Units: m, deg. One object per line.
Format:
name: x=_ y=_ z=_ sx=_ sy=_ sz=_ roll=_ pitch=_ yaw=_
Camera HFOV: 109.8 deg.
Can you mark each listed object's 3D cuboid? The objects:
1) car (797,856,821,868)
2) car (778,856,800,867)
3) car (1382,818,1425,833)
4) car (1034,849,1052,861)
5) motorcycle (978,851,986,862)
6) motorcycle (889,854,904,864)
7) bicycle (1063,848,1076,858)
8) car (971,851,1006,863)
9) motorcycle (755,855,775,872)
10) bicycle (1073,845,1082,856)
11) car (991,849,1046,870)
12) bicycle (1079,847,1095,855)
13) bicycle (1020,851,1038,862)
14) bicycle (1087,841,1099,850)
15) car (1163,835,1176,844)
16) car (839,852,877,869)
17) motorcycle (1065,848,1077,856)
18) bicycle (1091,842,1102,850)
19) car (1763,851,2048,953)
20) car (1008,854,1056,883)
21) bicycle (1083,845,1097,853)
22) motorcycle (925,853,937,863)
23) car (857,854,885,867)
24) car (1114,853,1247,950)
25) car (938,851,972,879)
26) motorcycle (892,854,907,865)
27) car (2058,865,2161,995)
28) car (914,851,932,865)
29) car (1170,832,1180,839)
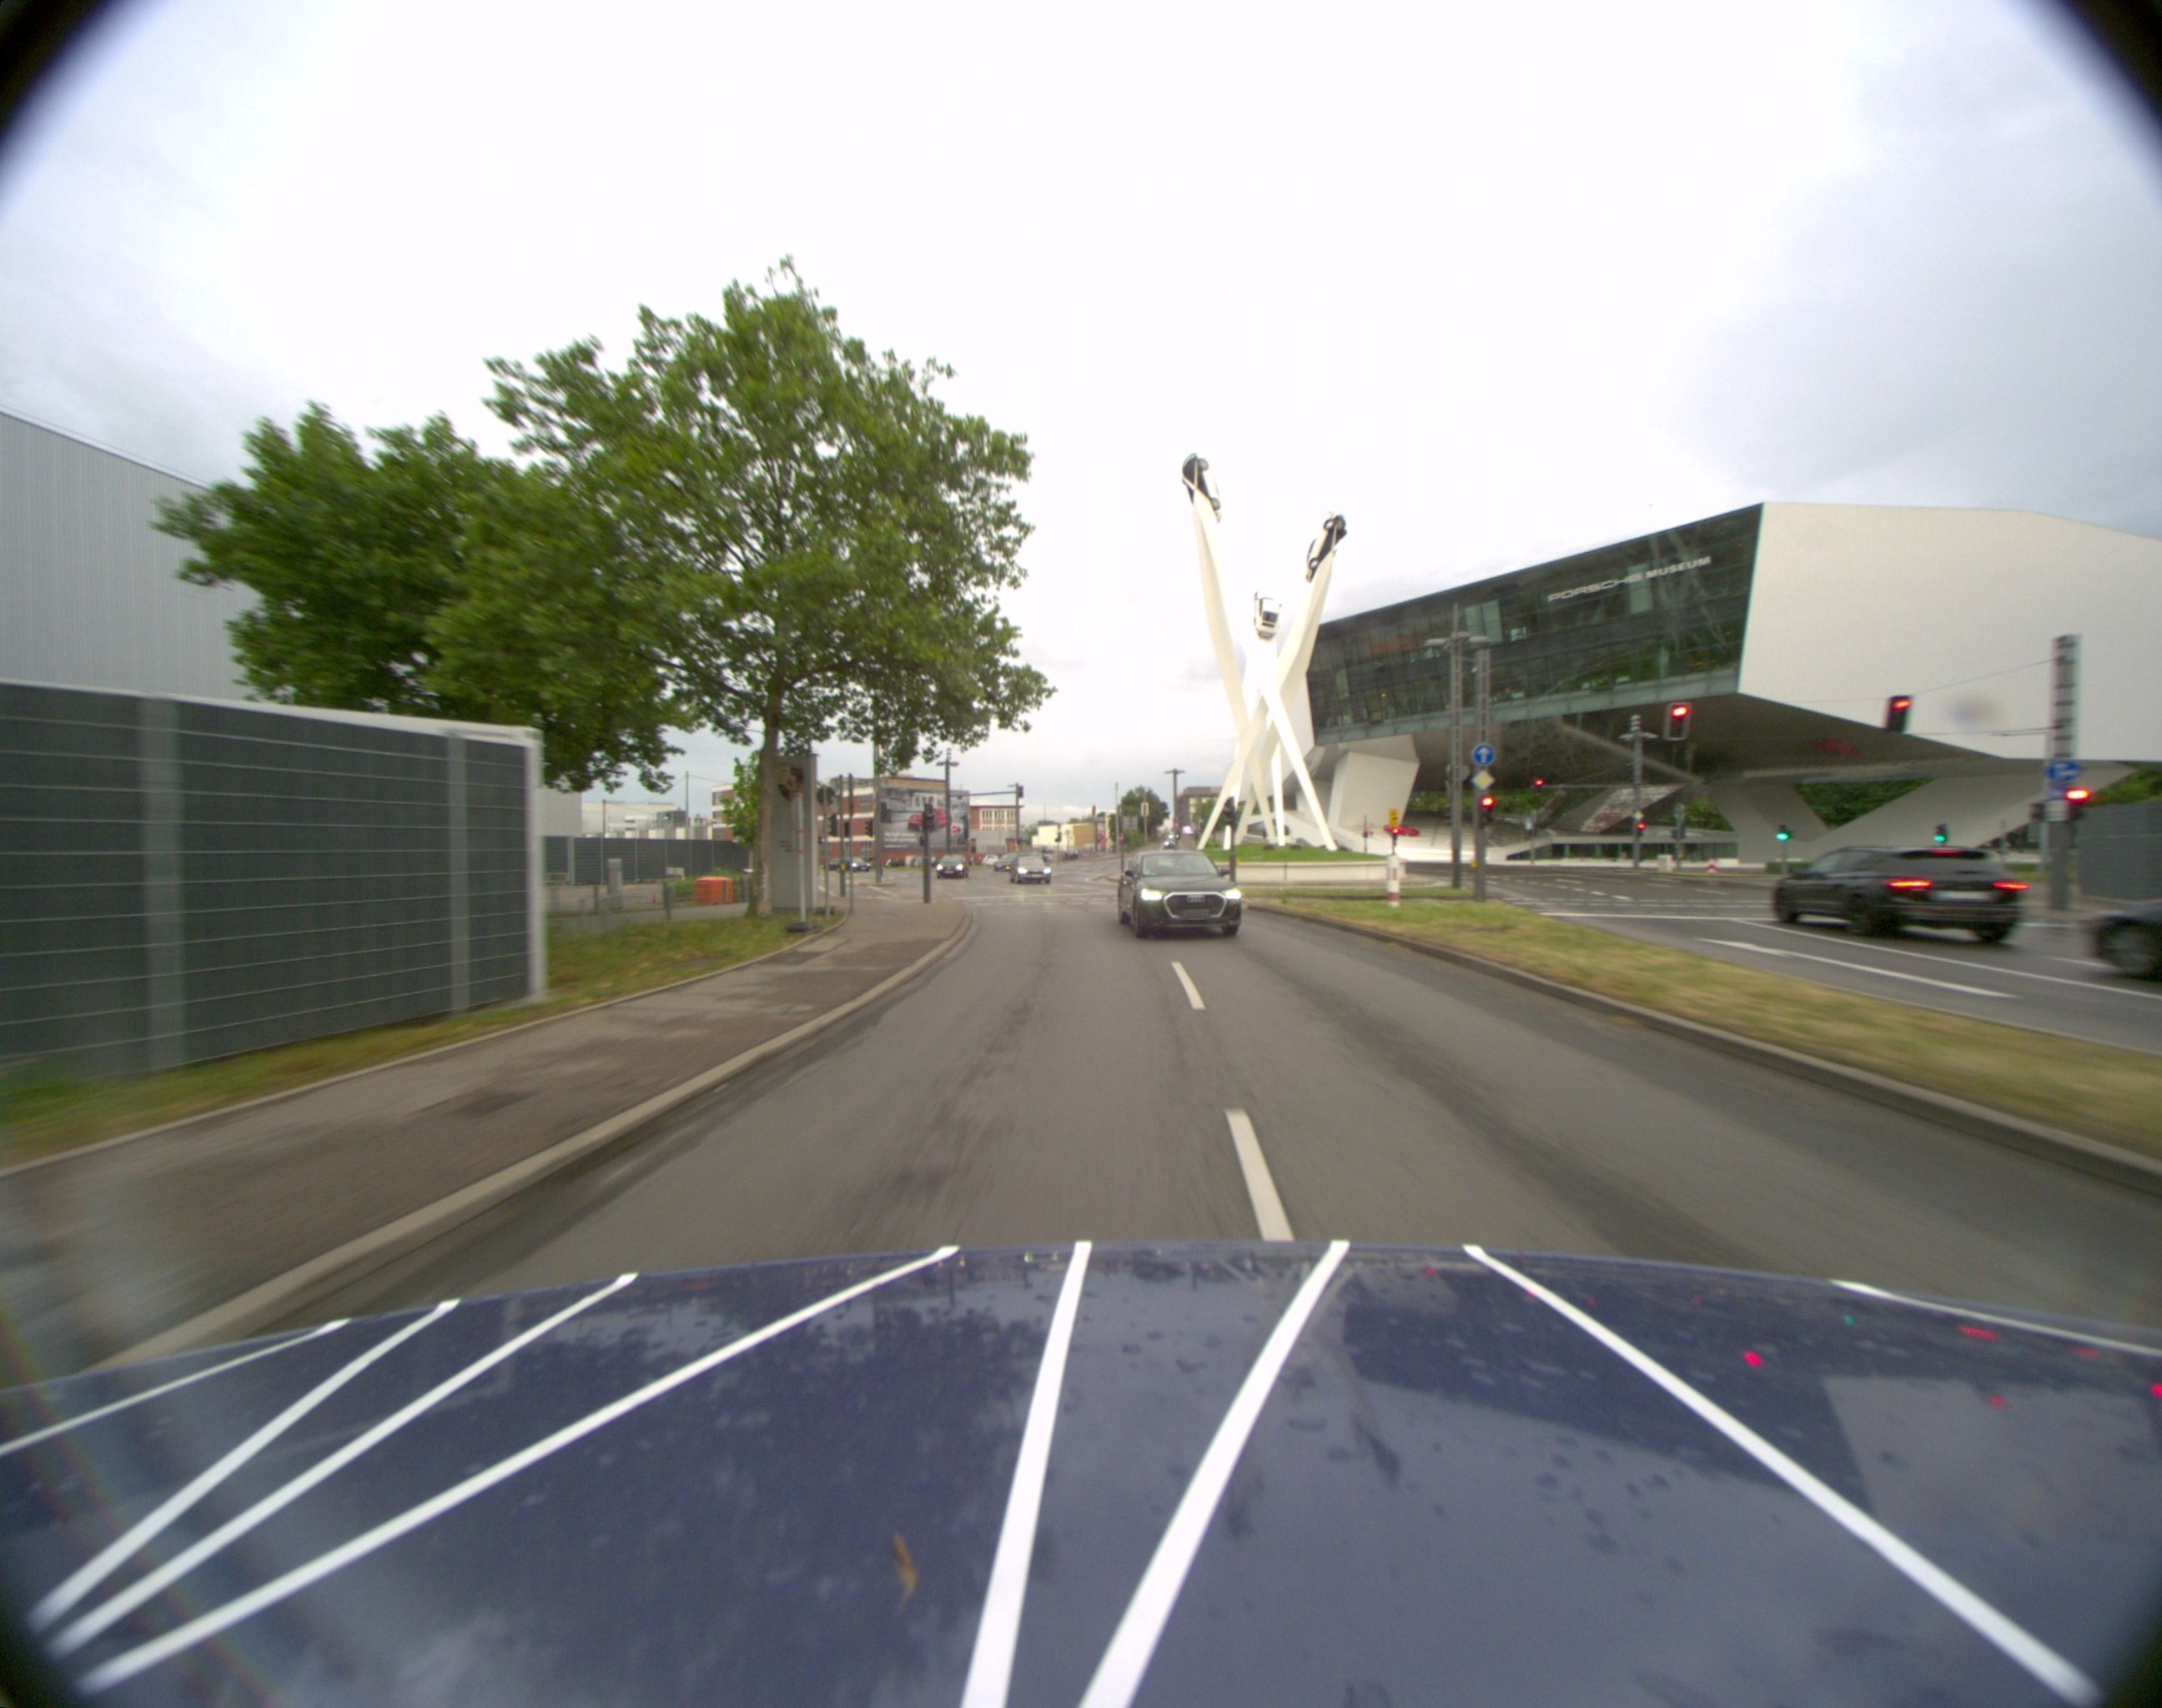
car: x=-34.851 y=0.975 z=97.314 sx=1.462 sy=1.436 sz=3.455 roll=-6 pitch=4 yaw=-43
car: x=-38.870 y=0.982 z=101.010 sx=1.462 sy=1.436 sz=3.379 roll=-6 pitch=4 yaw=-43
car: x=38.973 y=-3.435 z=91.803 sx=2.004 sy=1.378 sz=4.229 roll=-3 pitch=10 yaw=-38
car: x=-5.968 y=0.120 z=120.703 sx=1.781 sy=1.657 sz=4.508 roll=-2 pitch=1 yaw=11
motorcycle: x=-13.128 y=0.270 z=100.628 sx=0.523 sy=1.326 sz=1.670 roll=-2 pitch=3 yaw=8
motorcycle: x=-22.237 y=0.616 z=91.594 sx=1.651 sy=1.105 sz=0.543 roll=-5 pitch=4 yaw=-38
bicycle: x=-1.331 y=-0.134 z=87.294 sx=0.346 sy=1.078 sz=1.747 roll=1 pitch=5 yaw=42
car: x=-11.612 y=0.374 z=95.367 sx=3.992 sy=1.481 sz=1.569 roll=-1 pitch=1 yaw=17
motorcycle: x=-25.521 y=0.767 z=61.387 sx=2.095 sy=1.303 sz=0.657 roll=-1 pitch=1 yaw=45
bicycle: x=-0.446 y=-0.393 z=89.524 sx=0.399 sy=1.169 sz=2.017 roll=-1 pitch=3 yaw=17
car: x=-5.120 y=0.436 z=62.157 sx=4.074 sy=1.466 sz=1.745 roll=-4 pitch=3 yaw=-34
bicycle: x=0.705 y=-0.356 z=90.628 sx=1.742 sy=0.956 sz=0.422 roll=-1 pitch=4 yaw=16
bicycle: x=-5.701 y=0.267 z=83.324 sx=2.076 sy=1.124 sz=0.420 roll=-5 pitch=4 yaw=-35
bicycle: x=1.599 y=-1.127 z=100.789 sx=1.543 sy=1.149 sz=0.451 roll=0 pitch=4 yaw=3
car: x=14.151 y=-2.372 z=122.032 sx=1.816 sy=1.430 sz=4.302 roll=0 pitch=1 yaw=3
car: x=-20.481 y=0.603 z=69.746 sx=1.724 sy=1.417 sz=3.989 roll=-3 pitch=2 yaw=-42
motorcycle: x=-1.122 y=-0.241 z=89.522 sx=0.546 sy=0.890 sz=1.747 roll=0 pitch=4 yaw=31
bicycle: x=2.004 y=-1.031 z=99.034 sx=1.464 sy=1.068 sz=0.442 roll=-2 pitch=5 yaw=-22
car: x=15.182 y=0.745 z=14.414 sx=1.784 sy=1.579 sz=4.573 roll=0 pitch=1 yaw=21
car: x=-2.742 y=0.731 z=41.355 sx=1.819 sy=1.430 sz=4.296 roll=0 pitch=1 yaw=-15
bicycle: x=1.106 y=-0.624 z=93.396 sx=1.613 sy=0.917 sz=0.422 roll=-1 pitch=2 yaw=20
motorcycle: x=-18.300 y=0.510 z=92.532 sx=0.545 sy=1.174 sz=1.708 roll=-6 pitch=4 yaw=-42
car: x=-24.169 y=0.742 z=87.581 sx=2.745 sy=1.484 sz=1.557 roll=-2 pitch=-1 yaw=24
car: x=1.746 y=0.785 z=14.774 sx=1.757 sy=1.509 sz=4.393 roll=-2 pitch=1 yaw=-3
car: x=-8.057 y=0.657 z=48.882 sx=1.694 sy=1.499 sz=4.008 roll=-2 pitch=3 yaw=-4
motorcycle: x=-21.666 y=0.637 z=90.882 sx=1.604 sy=1.114 sz=0.543 roll=-5 pitch=4 yaw=-38
car: x=12.768 y=0.877 z=7.370 sx=1.785 sy=1.432 sz=4.401 roll=0 pitch=1 yaw=16
car: x=-18.002 y=0.494 z=86.588 sx=1.626 sy=1.495 sz=3.242 roll=-2 pitch=1 yaw=-17
car: x=20.073 y=-3.880 z=161.694 sx=1.816 sy=1.430 sz=4.302 roll=0 pitch=1 yaw=3
